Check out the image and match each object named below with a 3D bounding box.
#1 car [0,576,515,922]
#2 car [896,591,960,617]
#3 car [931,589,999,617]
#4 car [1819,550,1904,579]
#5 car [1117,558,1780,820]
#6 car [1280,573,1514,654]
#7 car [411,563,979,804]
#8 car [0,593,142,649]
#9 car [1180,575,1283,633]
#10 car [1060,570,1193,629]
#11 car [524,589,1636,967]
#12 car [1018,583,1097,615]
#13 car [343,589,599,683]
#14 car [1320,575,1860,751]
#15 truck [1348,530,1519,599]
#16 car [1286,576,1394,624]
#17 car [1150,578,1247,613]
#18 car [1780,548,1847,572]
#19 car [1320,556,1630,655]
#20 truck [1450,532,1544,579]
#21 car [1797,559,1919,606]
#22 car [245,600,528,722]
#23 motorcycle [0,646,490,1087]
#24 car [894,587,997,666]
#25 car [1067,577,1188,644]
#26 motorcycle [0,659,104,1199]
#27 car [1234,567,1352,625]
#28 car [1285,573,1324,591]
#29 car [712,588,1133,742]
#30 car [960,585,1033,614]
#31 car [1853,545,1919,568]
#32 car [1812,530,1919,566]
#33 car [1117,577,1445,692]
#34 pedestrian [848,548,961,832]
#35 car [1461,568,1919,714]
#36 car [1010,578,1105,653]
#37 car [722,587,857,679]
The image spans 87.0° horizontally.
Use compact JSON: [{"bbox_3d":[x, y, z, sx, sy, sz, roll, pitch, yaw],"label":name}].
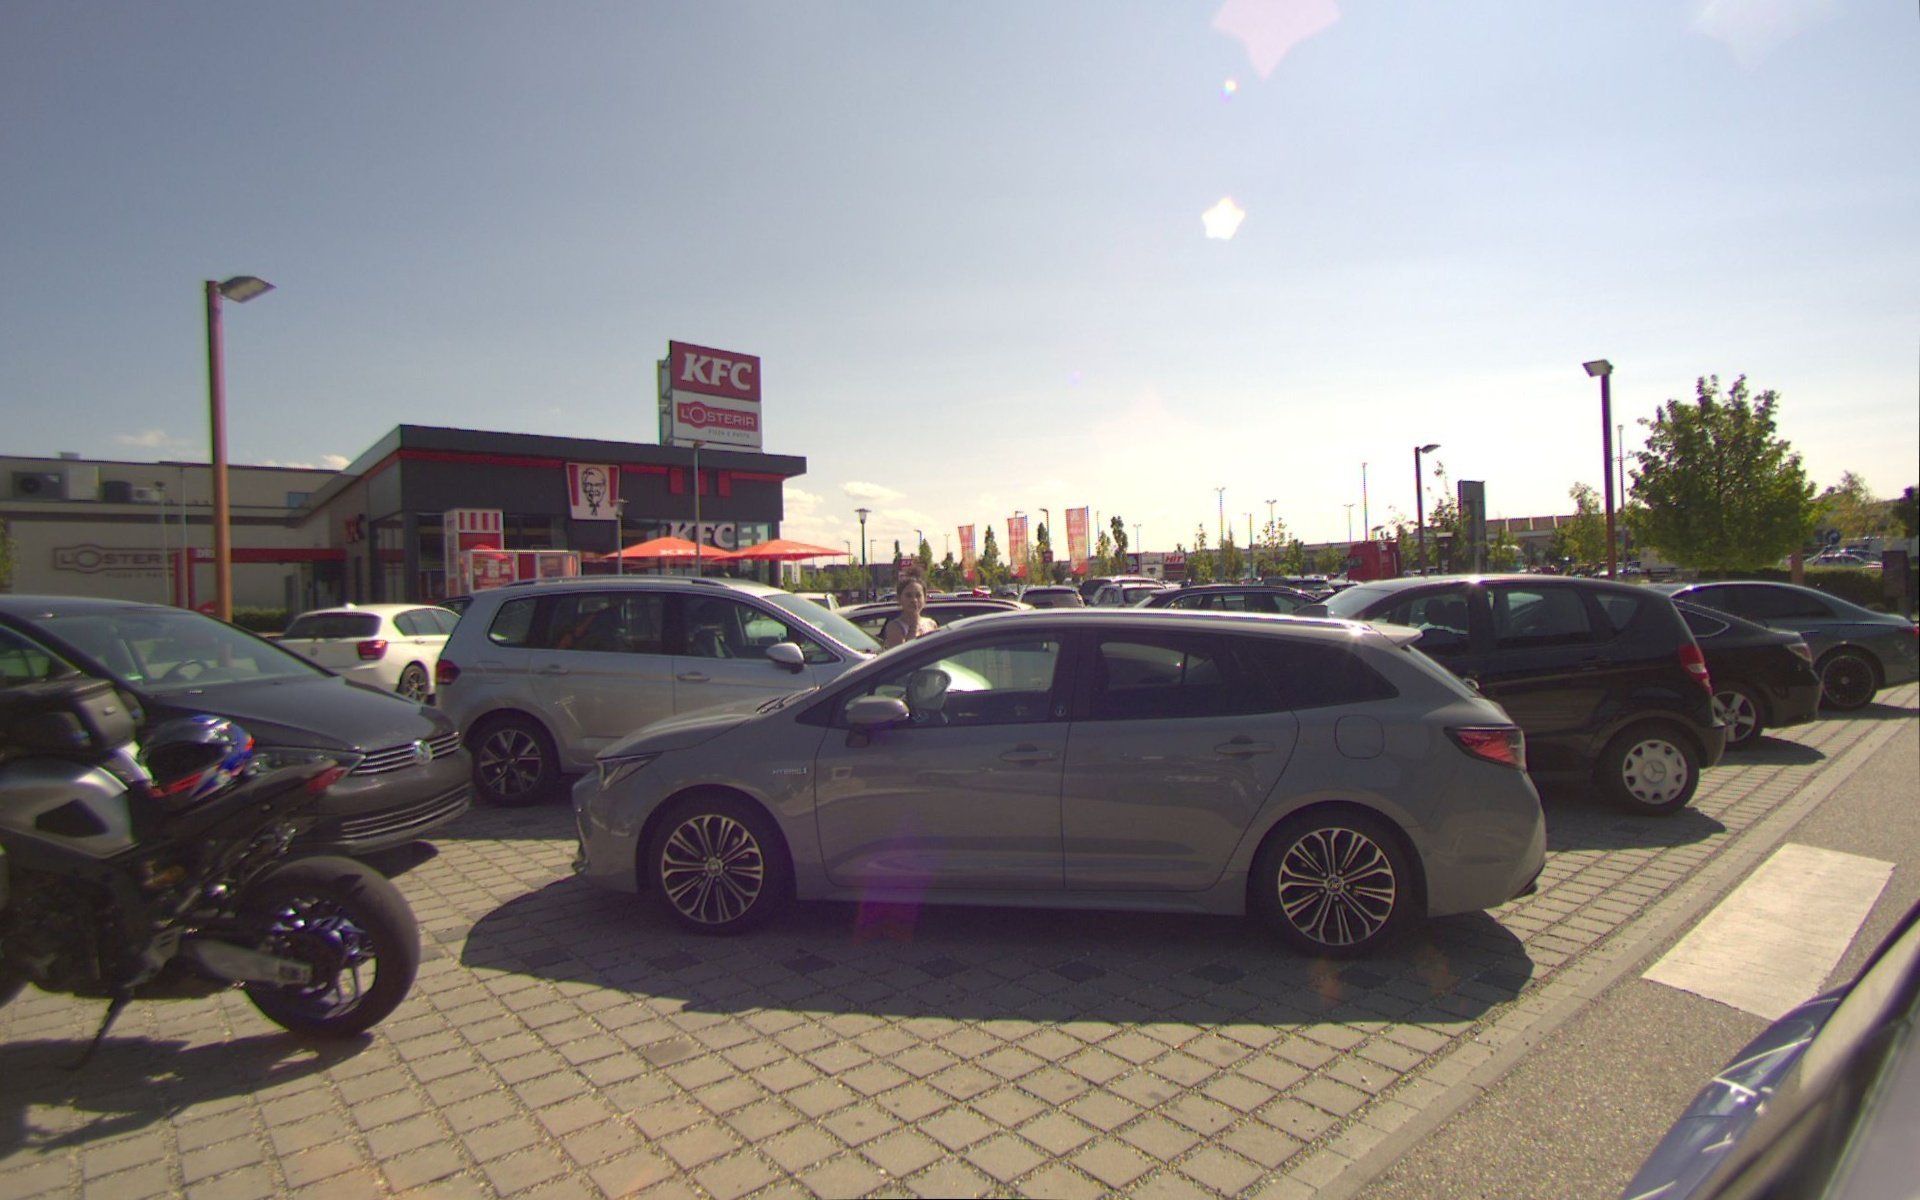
[{"bbox_3d":[-4.977,0.685,5.716,4.117,1.556,1.893,-1,0,6],"label":"car"},{"bbox_3d":[-1.986,0.236,63.821,3.683,1.530,1.688,-2,1,-34],"label":"car"},{"bbox_3d":[0.322,0.153,59.441,3.683,1.472,1.688,-2,1,-34],"label":"car"},{"bbox_3d":[58.327,-2.272,65.521,1.864,1.749,3.988,-2,1,-45],"label":"car"},{"bbox_3d":[3.240,0.581,7.427,3.928,1.613,1.810,-2,0,4],"label":"car"},{"bbox_3d":[8.495,0.240,19.926,3.831,1.444,1.706,-1,1,2],"label":"car"},{"bbox_3d":[-1.903,0.596,8.012,3.995,1.660,1.746,-1,0,5],"label":"car"},{"bbox_3d":[-30.375,0.693,34.046,4.313,1.706,1.637,-2,1,-44],"label":"car"},{"bbox_3d":[7.416,0.078,28.099,1.680,1.428,4.680,-2,1,2],"label":"car"},{"bbox_3d":[5.579,-0.047,33.642,4.291,1.772,2.069,-2,1,-40],"label":"car"},{"bbox_3d":[0.436,0.716,5.126,4.582,1.465,1.832,-1,0,7],"label":"car"},{"bbox_3d":[4.875,-0.083,50.664,3.683,1.472,1.688,-2,1,-34],"label":"car"},{"bbox_3d":[-9.142,0.649,19.115,4.014,1.596,1.755,-2,0,5],"label":"car"},{"bbox_3d":[5.821,0.559,9.819,4.003,1.467,1.826,-2,0,5],"label":"car"},{"bbox_3d":[29.044,-2.092,62.601,3.151,3.915,9.124,-2,1,-37],"label":"truck"},{"bbox_3d":[12.375,-0.027,33.252,1.762,1.440,4.089,-2,1,-3],"label":"car"},{"bbox_3d":[10.568,-0.220,44.703,4.075,1.415,1.889,-2,1,-34],"label":"car"},{"bbox_3d":[69.256,-3.238,82.121,4.169,1.749,1.897,-2,0,-10],"label":"car"},{"bbox_3d":[8.806,0.085,17.666,4.339,1.530,1.981,-2,0,5],"label":"car"},{"bbox_3d":[41.494,-3.349,78.458,2.373,3.393,7.578,-2,1,-8],"label":"truck"},{"bbox_3d":[41.387,-0.791,45.902,1.965,2.038,5.015,-3,1,-40],"label":"car"},{"bbox_3d":[-8.145,0.774,14.893,1.809,1.443,4.186,-2,1,0],"label":"car"},{"bbox_3d":[-2.822,0.812,3.405,2.099,1.247,0.821,-1,0,-3],"label":"motorcycle"},{"bbox_3d":[-0.204,0.469,20.745,1.788,1.420,3.997,-2,1,4],"label":"car"},{"bbox_3d":[4.219,0.236,26.240,1.742,1.530,4.359,-2,1,-9],"label":"car"},{"bbox_3d":[-3.312,0.781,2.080,2.210,1.267,1.070,0,-1,1],"label":"motorcycle"},{"bbox_3d":[9.879,-0.123,30.356,1.770,1.576,4.060,-2,1,-6],"label":"car"},{"bbox_3d":[32.652,-1.683,95.874,3.153,1.576,1.544,-2,0,-14],"label":"car"},{"bbox_3d":[-0.332,0.619,10.526,4.009,1.426,1.792,-1,1,4],"label":"car"},{"bbox_3d":[2.015,-0.028,55.627,3.683,1.472,1.688,-2,1,-34],"label":"car"},{"bbox_3d":[62.782,-2.927,68.051,1.637,1.359,3.901,-2,1,-41],"label":"car"},{"bbox_3d":[64.114,-3.631,70.816,2.261,2.272,6.560,-2,1,-41],"label":"car"},{"bbox_3d":[4.673,0.487,15.331,4.339,1.530,1.981,-2,0,5],"label":"car"},{"bbox_3d":[-0.347,0.553,6.539,0.555,1.734,0.608,-1,0,12],"label":"pedestrian"},{"bbox_3d":[8.804,0.454,12.251,4.462,1.530,1.885,-2,0,5],"label":"car"},{"bbox_3d":[2.118,0.291,23.008,1.787,1.508,3.999,-2,1,1],"label":"car"},{"bbox_3d":[-3.077,0.522,19.145,1.877,1.490,4.473,-2,1,-1],"label":"car"}]
